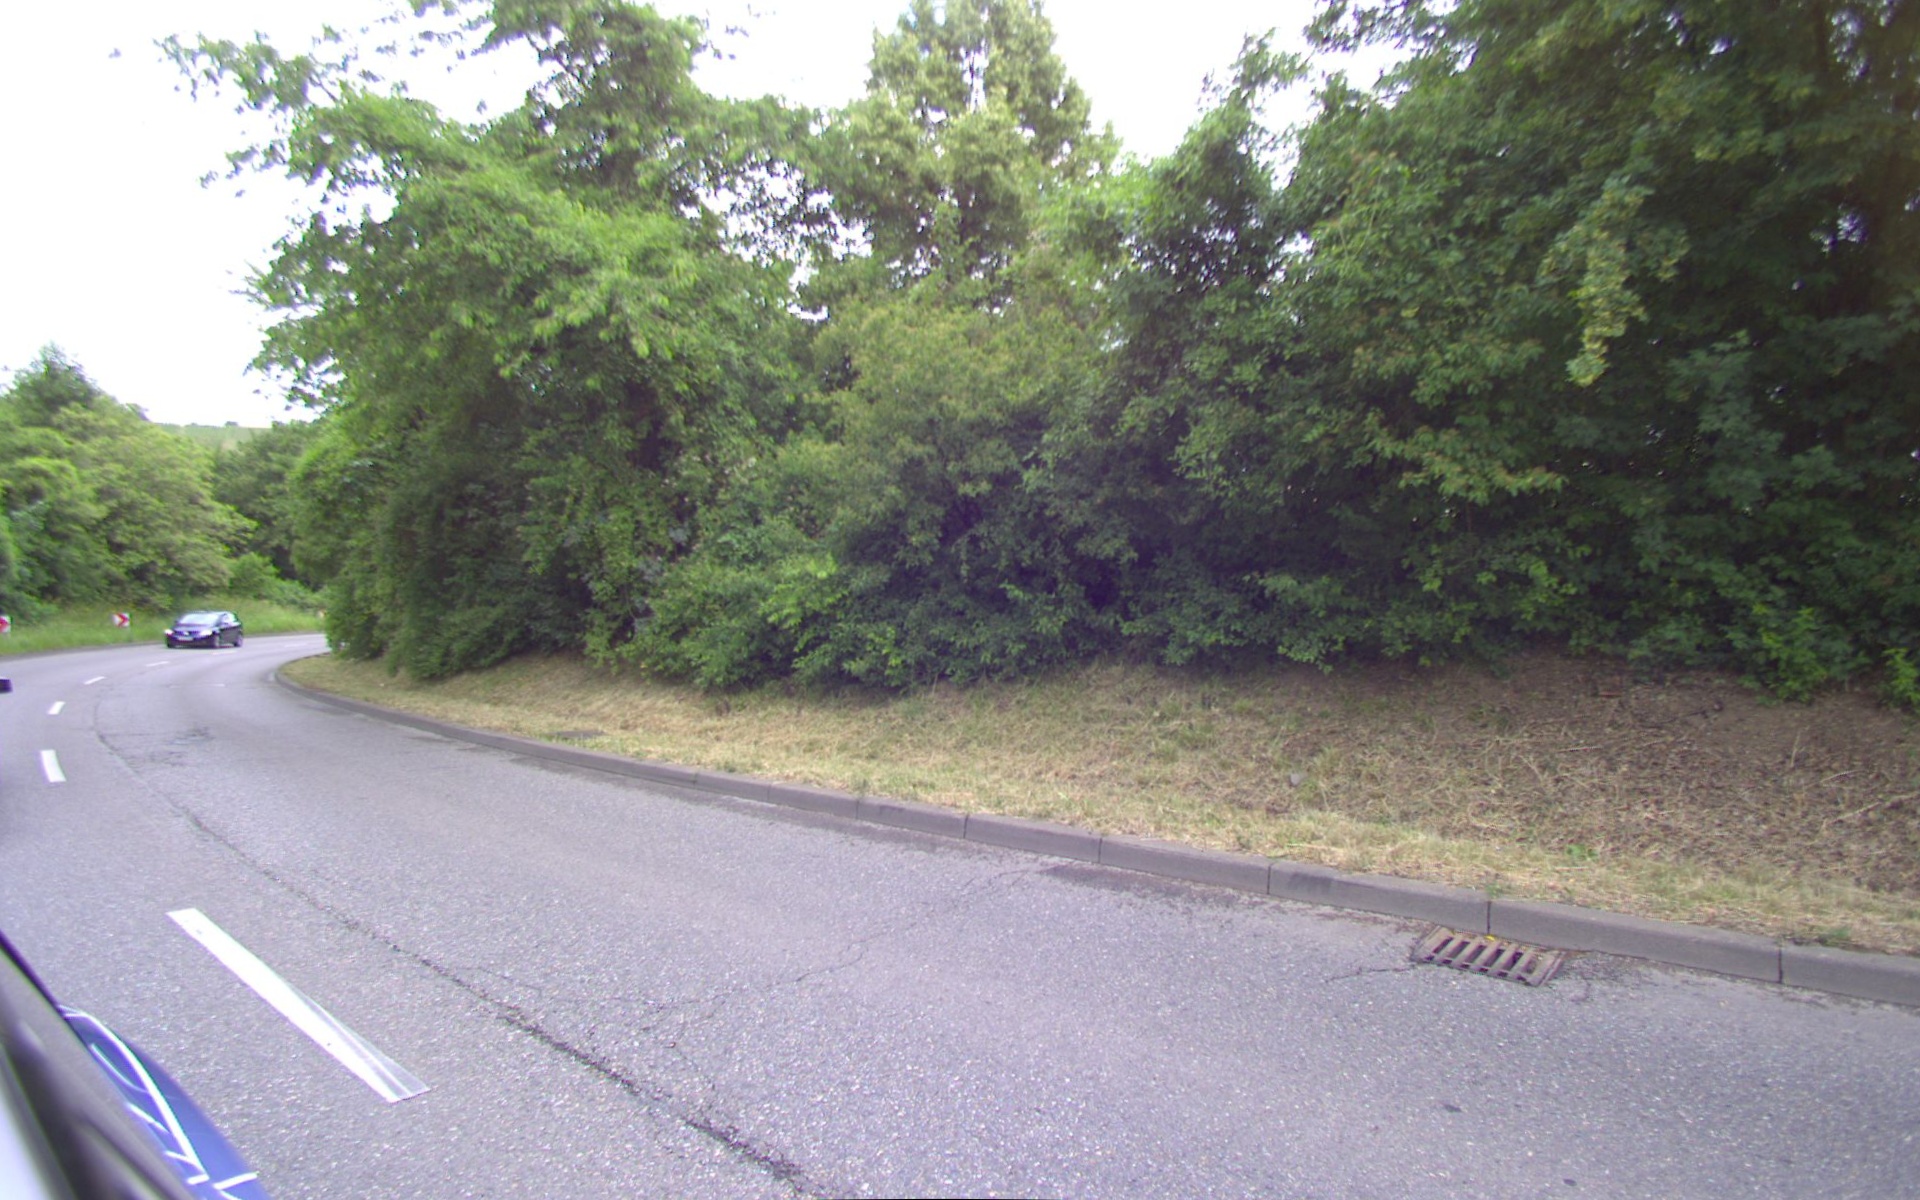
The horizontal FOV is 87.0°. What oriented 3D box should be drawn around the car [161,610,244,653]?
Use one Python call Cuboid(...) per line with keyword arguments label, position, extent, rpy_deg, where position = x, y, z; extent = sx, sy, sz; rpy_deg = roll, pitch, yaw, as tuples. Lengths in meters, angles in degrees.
Cuboid(label="car", position=(-31.871, 1.305, 42.673), extent=(1.528, 1.657, 3.751), rpy_deg=(4, -2, -17))
